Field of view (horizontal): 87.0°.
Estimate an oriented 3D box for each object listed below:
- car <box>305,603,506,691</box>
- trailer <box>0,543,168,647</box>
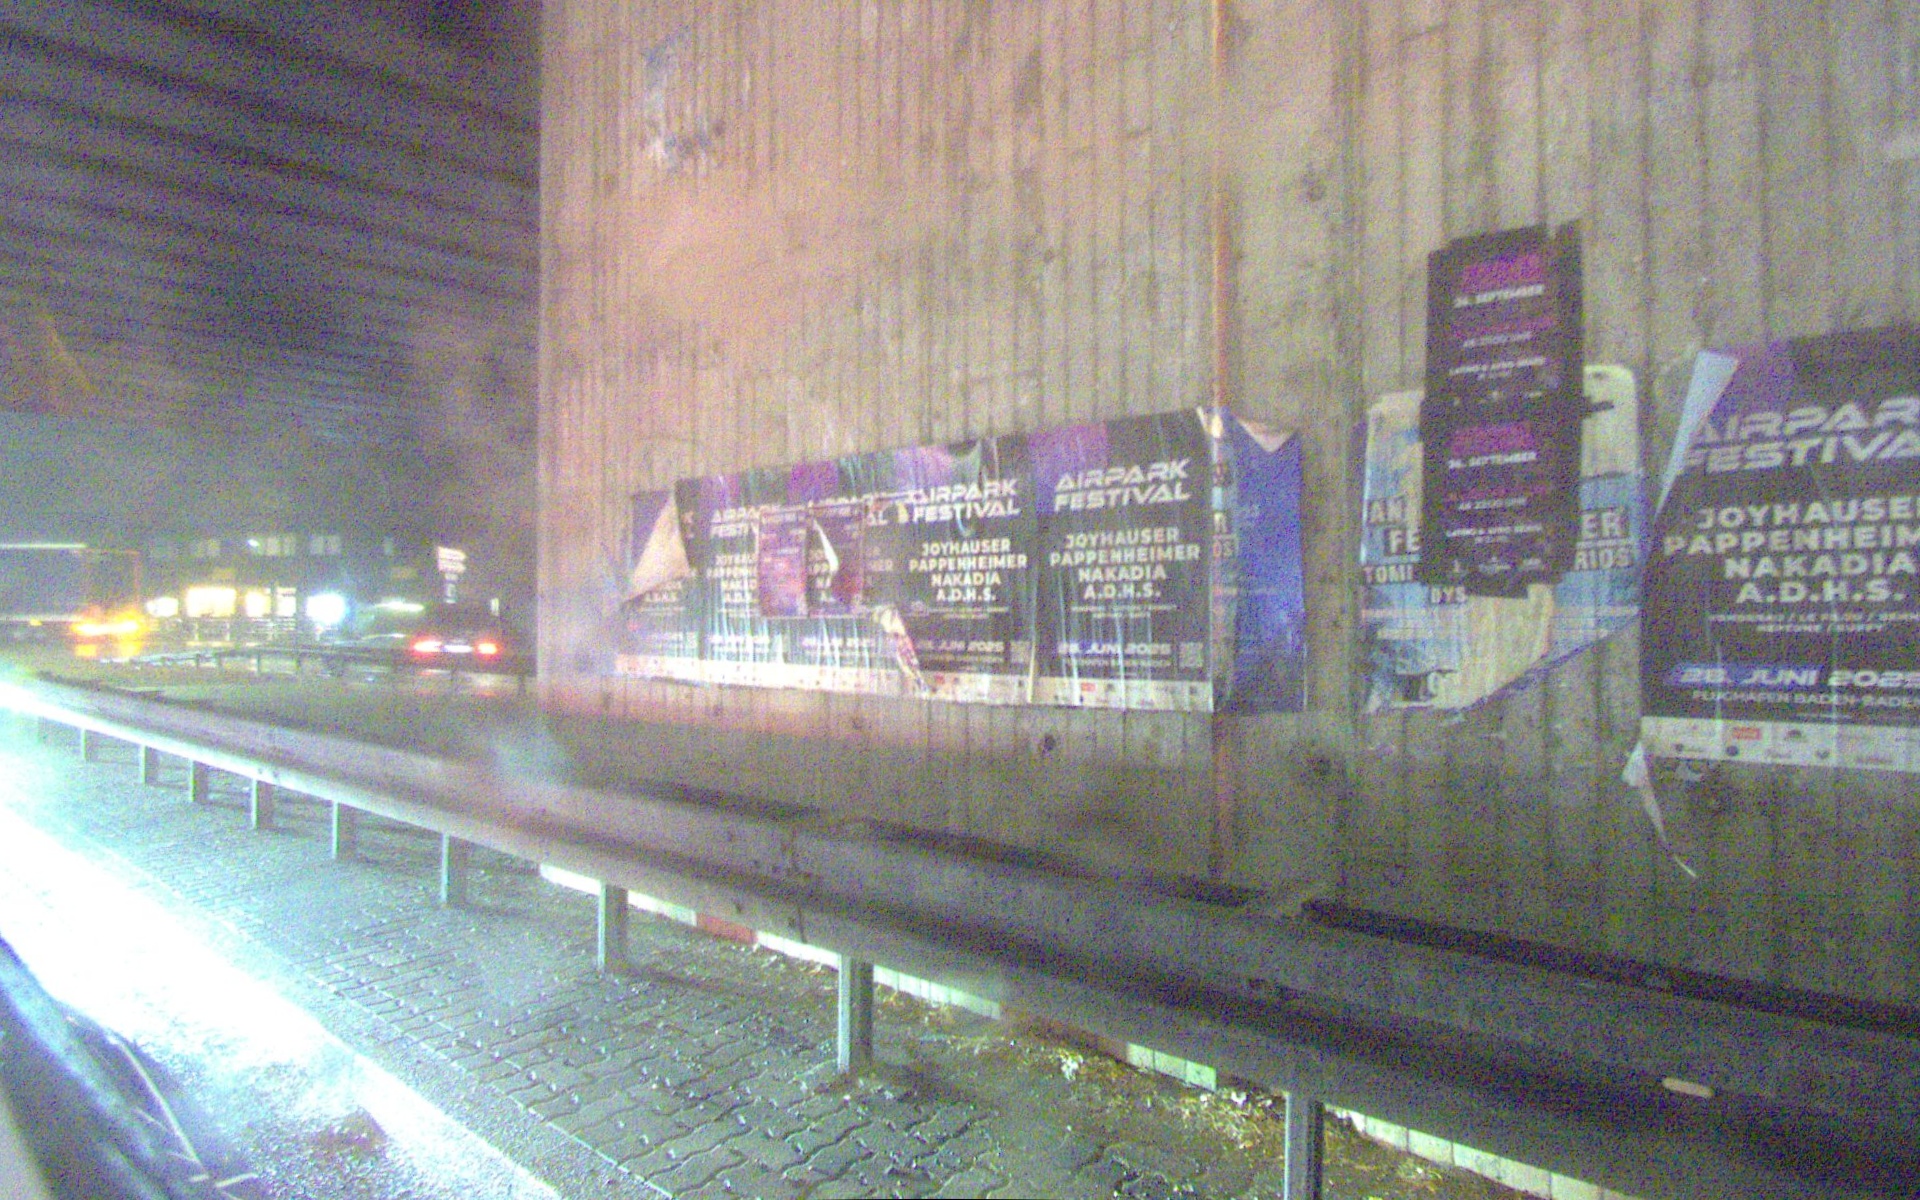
[{"bbox_3d":[-12.474,0.985,22.660,4.906,1.754,1.948,-1,0,34],"label":"car"},{"bbox_3d":[-42.274,-0.137,43.347,13.728,4.208,3.968,-1,0,1],"label":"trailer"}]
